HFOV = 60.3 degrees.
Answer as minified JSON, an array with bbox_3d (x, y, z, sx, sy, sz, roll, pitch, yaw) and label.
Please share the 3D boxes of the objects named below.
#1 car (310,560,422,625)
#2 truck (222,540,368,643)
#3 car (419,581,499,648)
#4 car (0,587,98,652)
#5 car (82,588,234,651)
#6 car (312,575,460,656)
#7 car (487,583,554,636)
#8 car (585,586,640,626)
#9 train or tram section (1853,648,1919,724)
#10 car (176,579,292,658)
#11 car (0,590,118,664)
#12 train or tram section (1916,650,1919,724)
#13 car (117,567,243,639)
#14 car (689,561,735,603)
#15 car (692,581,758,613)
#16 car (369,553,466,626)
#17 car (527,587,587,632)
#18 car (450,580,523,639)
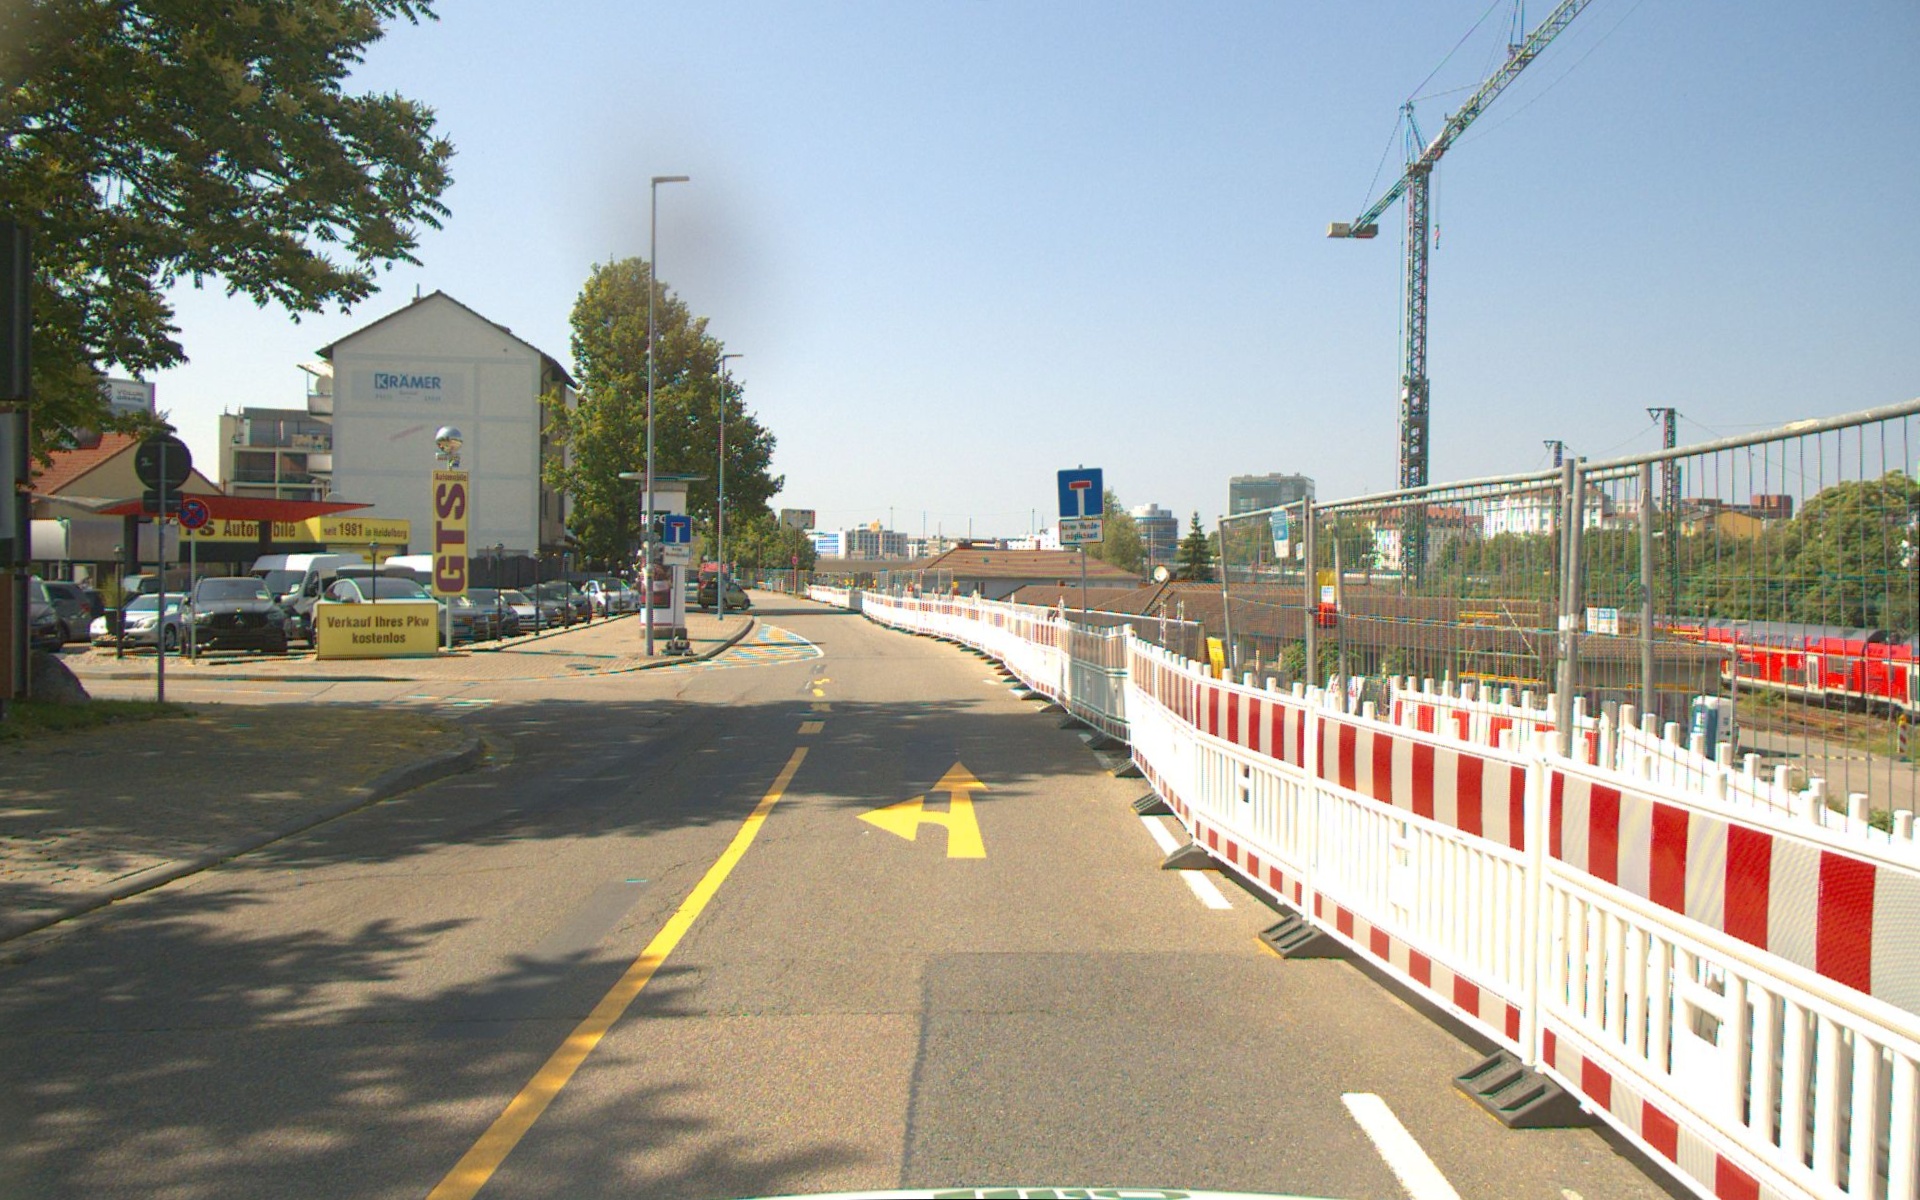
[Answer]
[{"bbox_3d":[-17.523,-0.214,49.051,1.840,1.768,4.718,2,0,-4],"label":"car"},{"bbox_3d":[-20.517,-0.256,51.369,2.223,2.954,5.940,2,0,-2],"label":"truck"},{"bbox_3d":[-13.091,0.345,43.112,1.829,1.657,3.978,1,0,-19],"label":"car"},{"bbox_3d":[-24.504,0.485,41.988,4.299,1.613,1.969,2,-1,-43],"label":"car"},{"bbox_3d":[-20.541,0.492,42.537,1.750,1.513,4.001,1,0,3],"label":"car"},{"bbox_3d":[-13.272,0.347,38.131,1.980,1.756,3.944,2,-1,-39],"label":"car"},{"bbox_3d":[-14.424,0.295,54.191,1.829,1.657,3.978,1,0,-19],"label":"car"},{"bbox_3d":[-14.925,0.231,70.910,1.829,1.657,3.978,1,0,-19],"label":"car"},{"bbox_3d":[51.701,4.634,89.584,2.950,3.776,8.979,3,0,10],"label":"train or tram section"},{"bbox_3d":[-15.968,0.389,36.251,2.023,1.622,4.383,1,-1,-28],"label":"car"},{"bbox_3d":[-20.413,0.565,36.644,1.753,1.536,3.995,1,0,-6],"label":"car"},{"bbox_3d":[50.183,4.510,80.742,2.950,3.779,8.979,3,0,10],"label":"train or tram section"},{"bbox_3d":[-23.717,0.107,50.486,1.954,2.049,4.491,1,0,-5],"label":"car"},{"bbox_3d":[-15.840,-1.121,105.859,2.488,2.564,5.113,1,0,-5],"label":"car"},{"bbox_3d":[-13.082,-0.164,92.108,1.697,1.666,3.259,1,-1,44],"label":"car"},{"bbox_3d":[-17.991,-0.349,55.072,2.095,2.324,4.704,1,0,-6],"label":"car"},{"bbox_3d":[-15.346,0.342,62.918,1.829,1.657,3.978,1,0,-19],"label":"car"},{"bbox_3d":[-13.963,0.263,48.613,1.829,1.657,3.978,1,0,-19],"label":"car"}]
